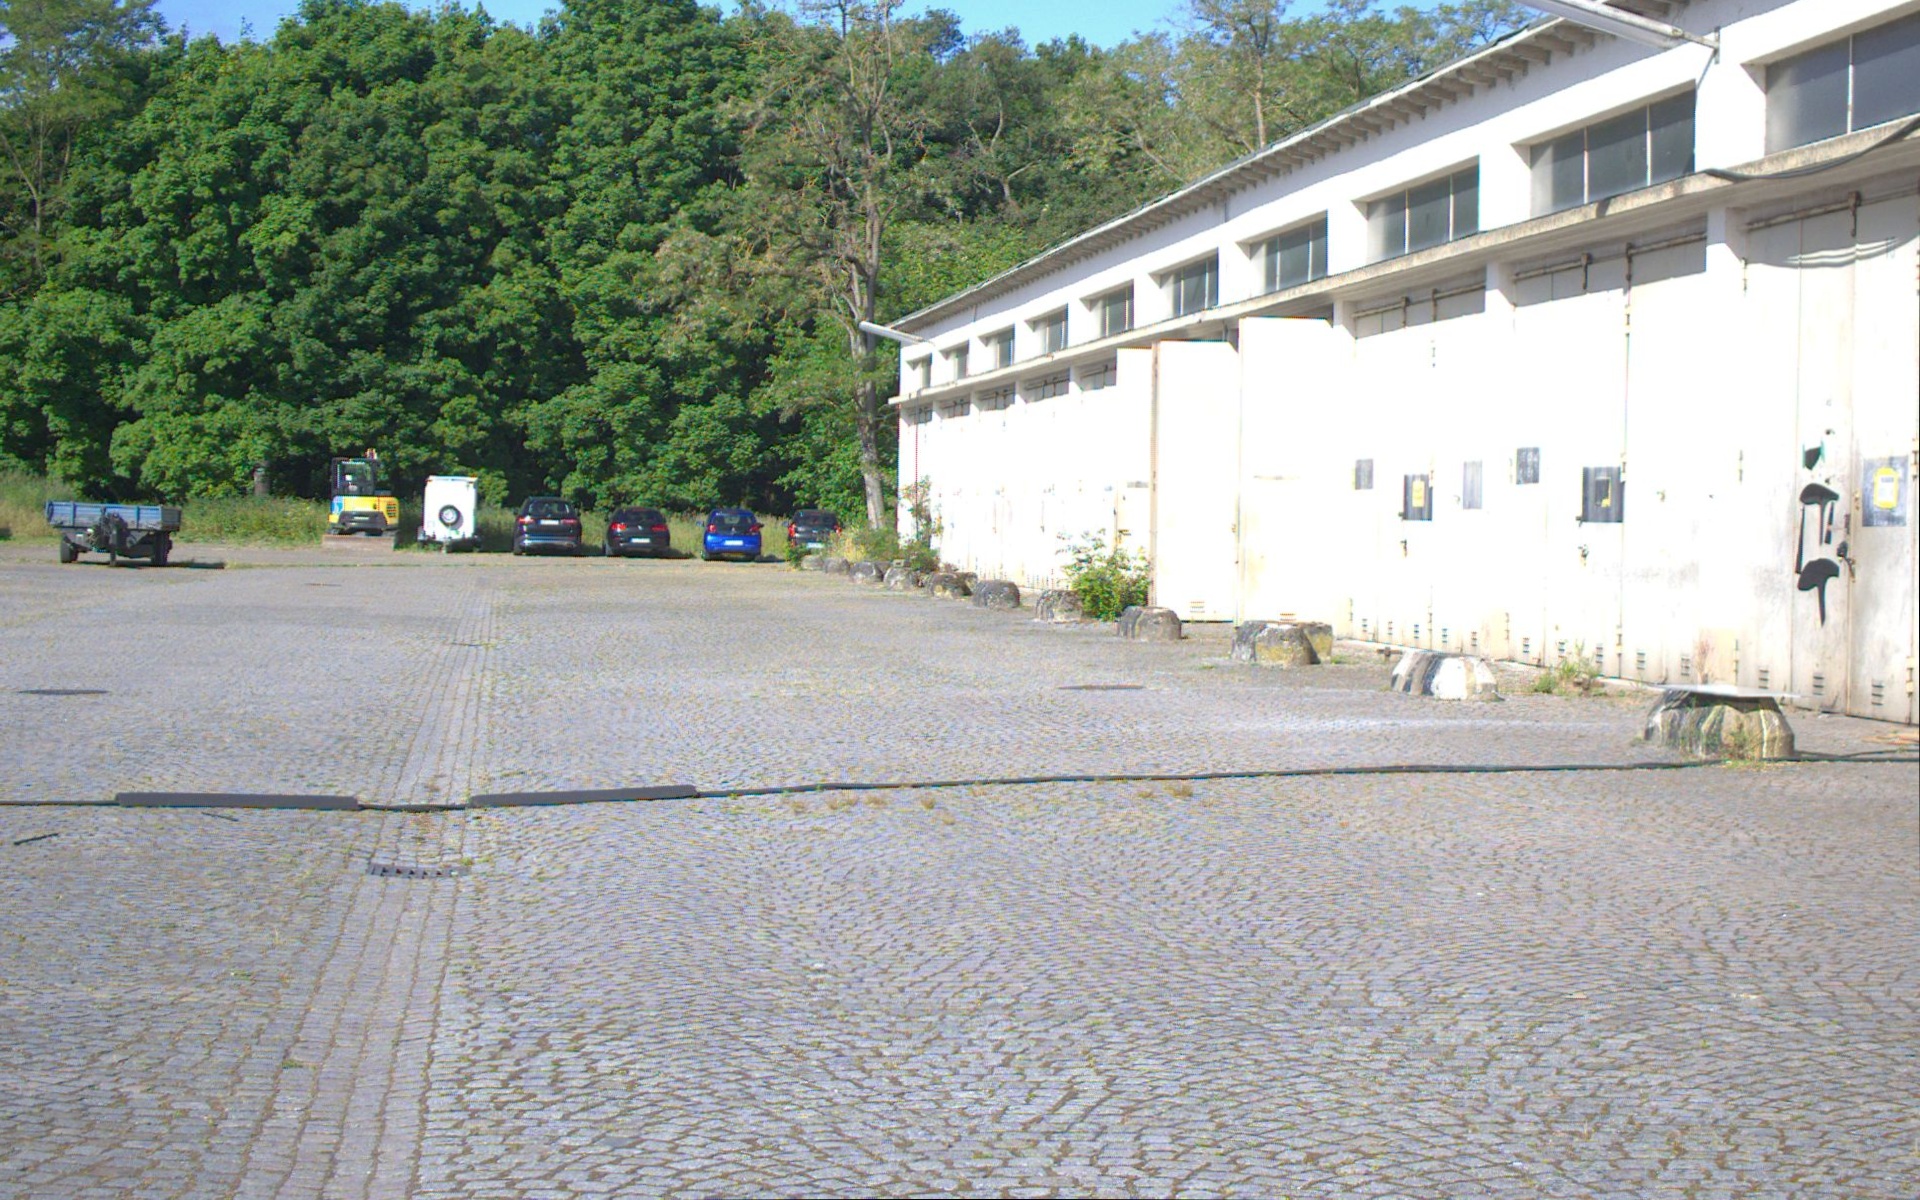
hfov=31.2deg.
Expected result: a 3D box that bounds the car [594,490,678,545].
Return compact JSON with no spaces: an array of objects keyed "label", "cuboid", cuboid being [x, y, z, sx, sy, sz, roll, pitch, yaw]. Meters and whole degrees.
[{"label":"car","cuboid":[-9.074,-2.318,96.566,1.993,1.457,4.000,1,2,-1]}]

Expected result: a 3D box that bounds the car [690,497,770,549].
[{"label":"car","cuboid":[-6.465,-2.181,96.902,1.993,1.415,4.000,1,2,-1]}]

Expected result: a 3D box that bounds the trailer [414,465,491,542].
[{"label":"trailer","cuboid":[-14.357,-2.737,97.399,1.793,2.083,3.972,1,2,-3]}]

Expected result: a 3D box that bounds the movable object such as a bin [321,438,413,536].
[{"label":"movable object such as a bin","cuboid":[-16.761,-3.193,97.359,1.993,2.609,4.001,3,1,-4]}]

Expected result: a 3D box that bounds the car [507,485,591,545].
[{"label":"car","cuboid":[-11.434,-2.379,95.844,1.861,1.580,4.000,1,2,-1]}]

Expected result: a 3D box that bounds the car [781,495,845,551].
[{"label":"car","cuboid":[-4.195,-2.214,98.433,1.685,1.558,4.000,1,2,-1]}]

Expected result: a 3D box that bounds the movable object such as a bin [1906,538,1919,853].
[{"label":"movable object such as a bin","cuboid":[4.570,0.426,14.048,0.823,1.327,1.281,1,1,-12]}]

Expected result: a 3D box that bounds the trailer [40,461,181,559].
[{"label":"trailer","cuboid":[-19.127,-2.033,77.627,2.406,2.006,4.174,3,1,-6]}]
